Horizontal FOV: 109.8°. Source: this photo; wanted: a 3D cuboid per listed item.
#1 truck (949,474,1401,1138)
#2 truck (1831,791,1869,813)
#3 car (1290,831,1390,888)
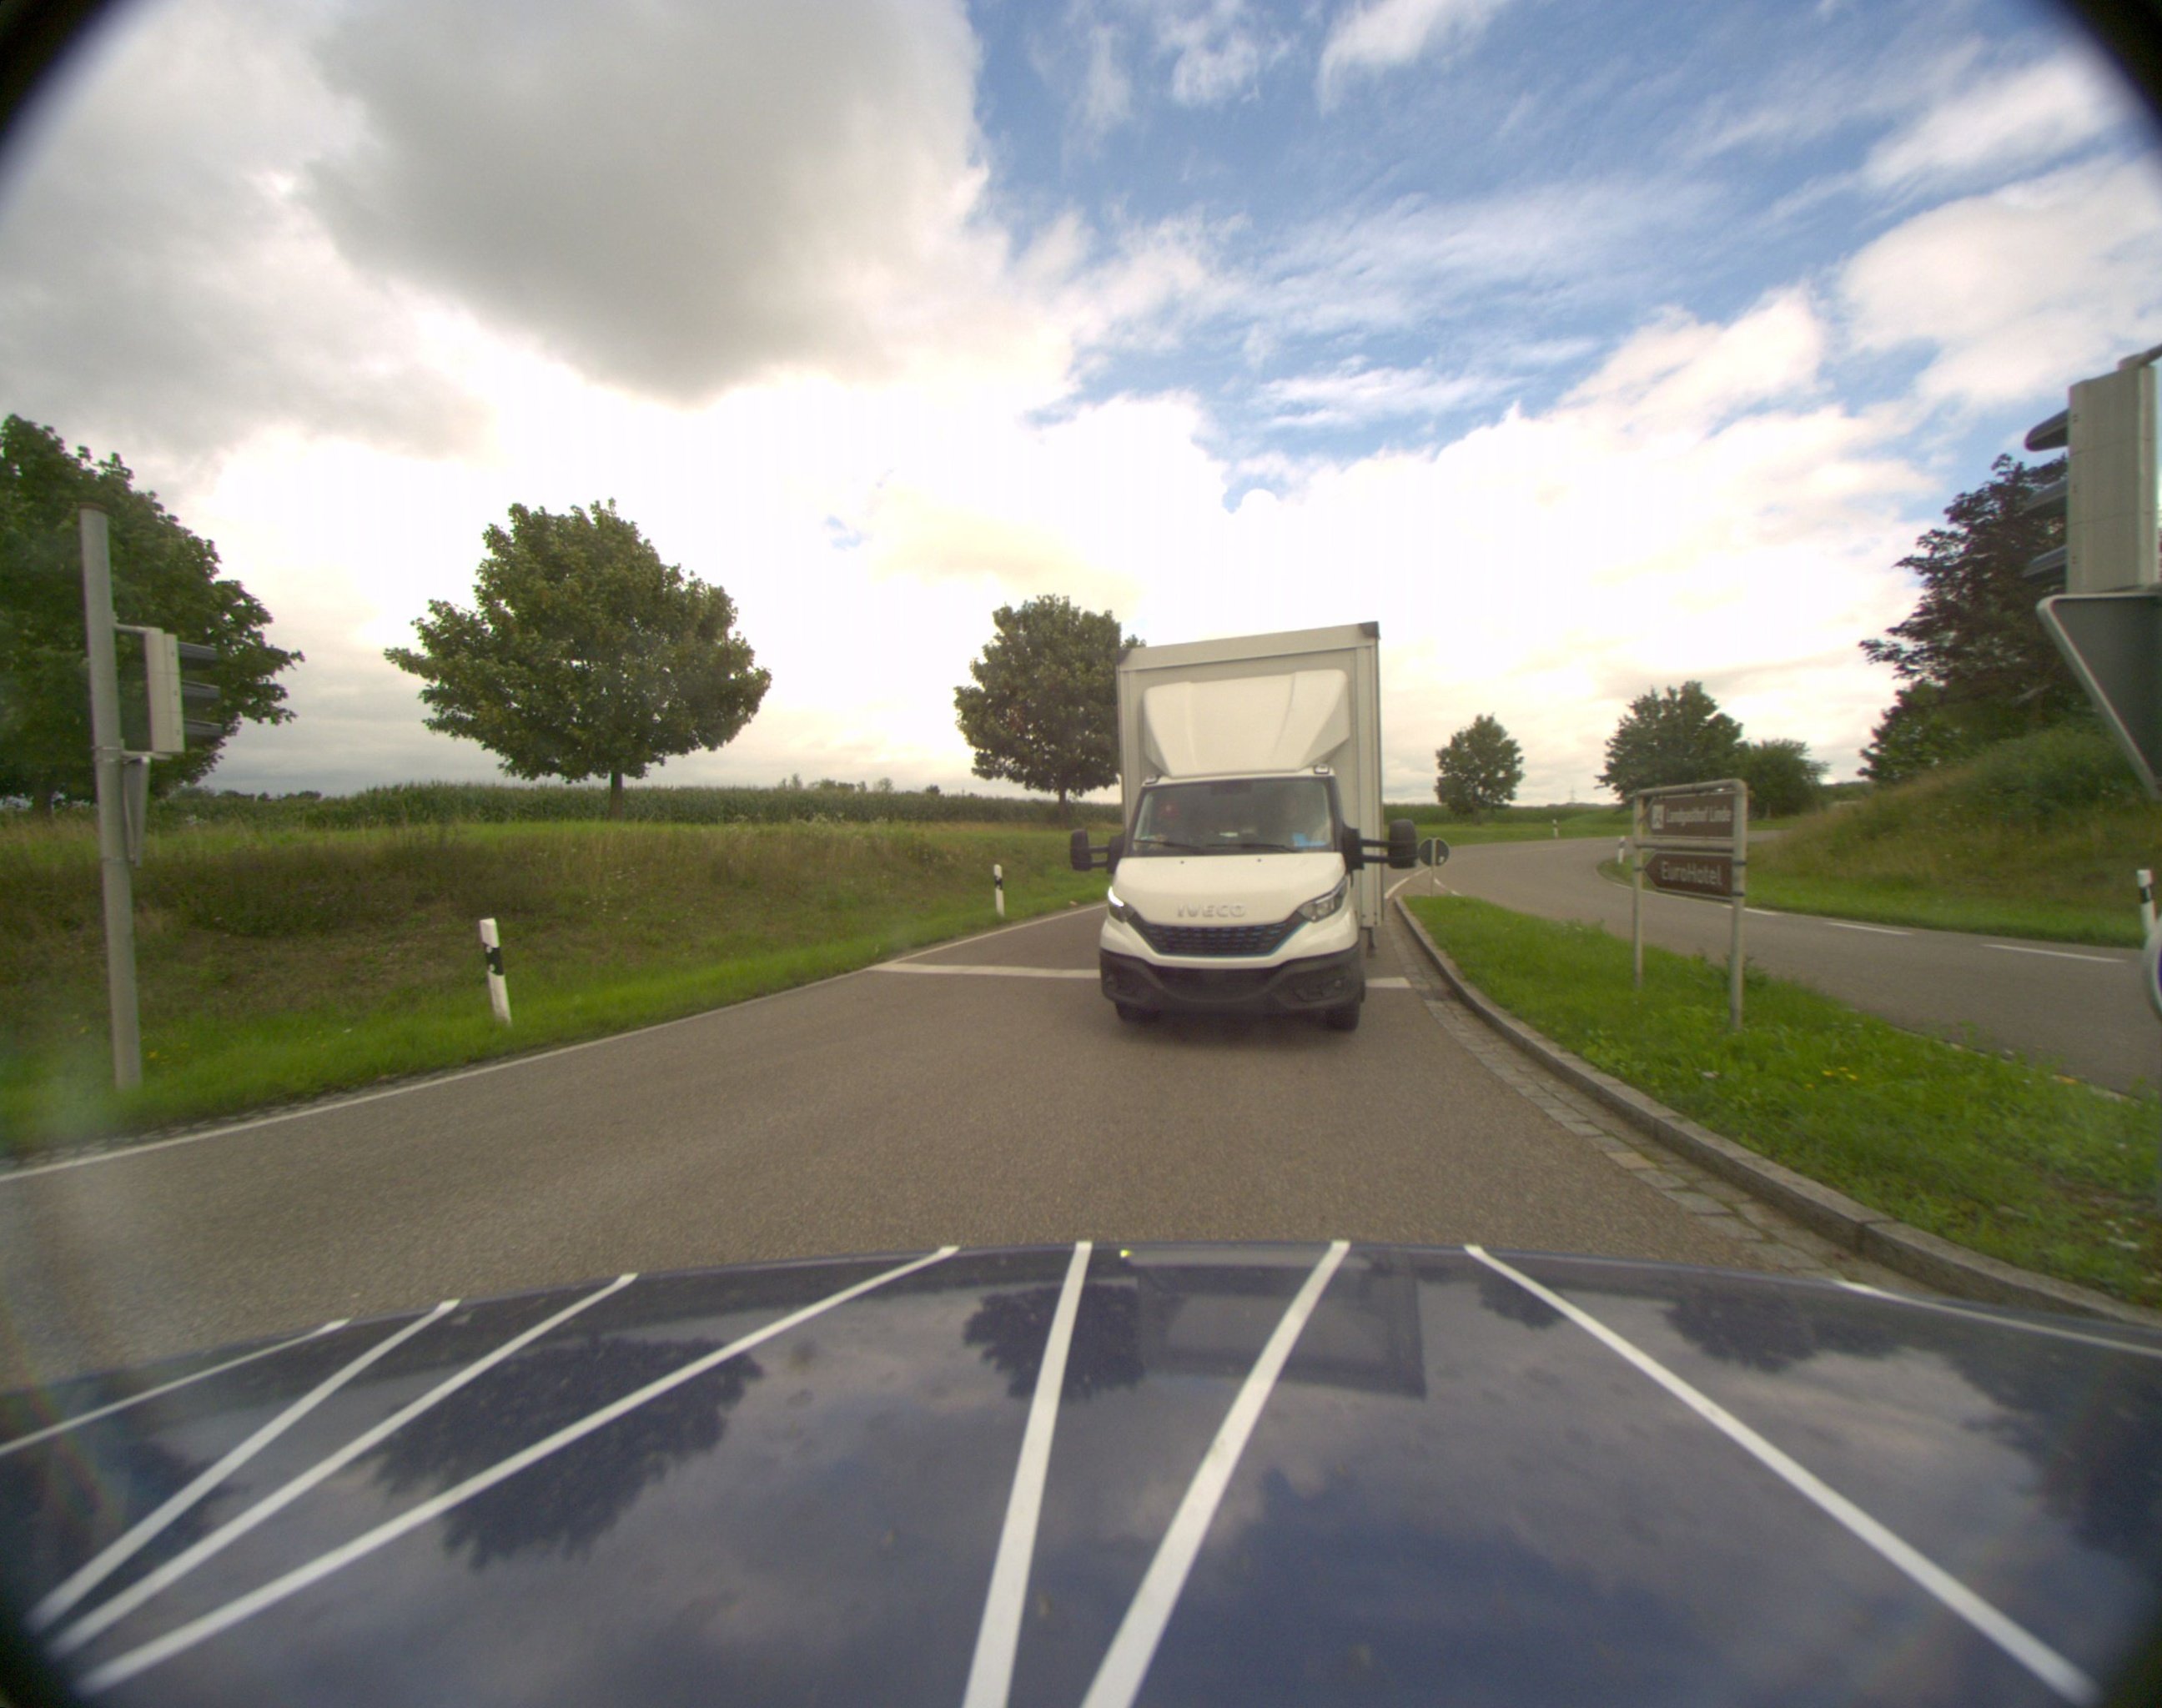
[{"bbox_3d":[2.008,-0.436,8.902,2.833,3.743,8.809,0,3,20],"label":"truck"},{"bbox_3d":[88.823,-5.943,87.835,2.285,2.408,6.393,0,3,38],"label":"truck"},{"bbox_3d":[7.442,0.103,21.607,1.805,1.444,4.007,-1,2,32],"label":"car"}]
